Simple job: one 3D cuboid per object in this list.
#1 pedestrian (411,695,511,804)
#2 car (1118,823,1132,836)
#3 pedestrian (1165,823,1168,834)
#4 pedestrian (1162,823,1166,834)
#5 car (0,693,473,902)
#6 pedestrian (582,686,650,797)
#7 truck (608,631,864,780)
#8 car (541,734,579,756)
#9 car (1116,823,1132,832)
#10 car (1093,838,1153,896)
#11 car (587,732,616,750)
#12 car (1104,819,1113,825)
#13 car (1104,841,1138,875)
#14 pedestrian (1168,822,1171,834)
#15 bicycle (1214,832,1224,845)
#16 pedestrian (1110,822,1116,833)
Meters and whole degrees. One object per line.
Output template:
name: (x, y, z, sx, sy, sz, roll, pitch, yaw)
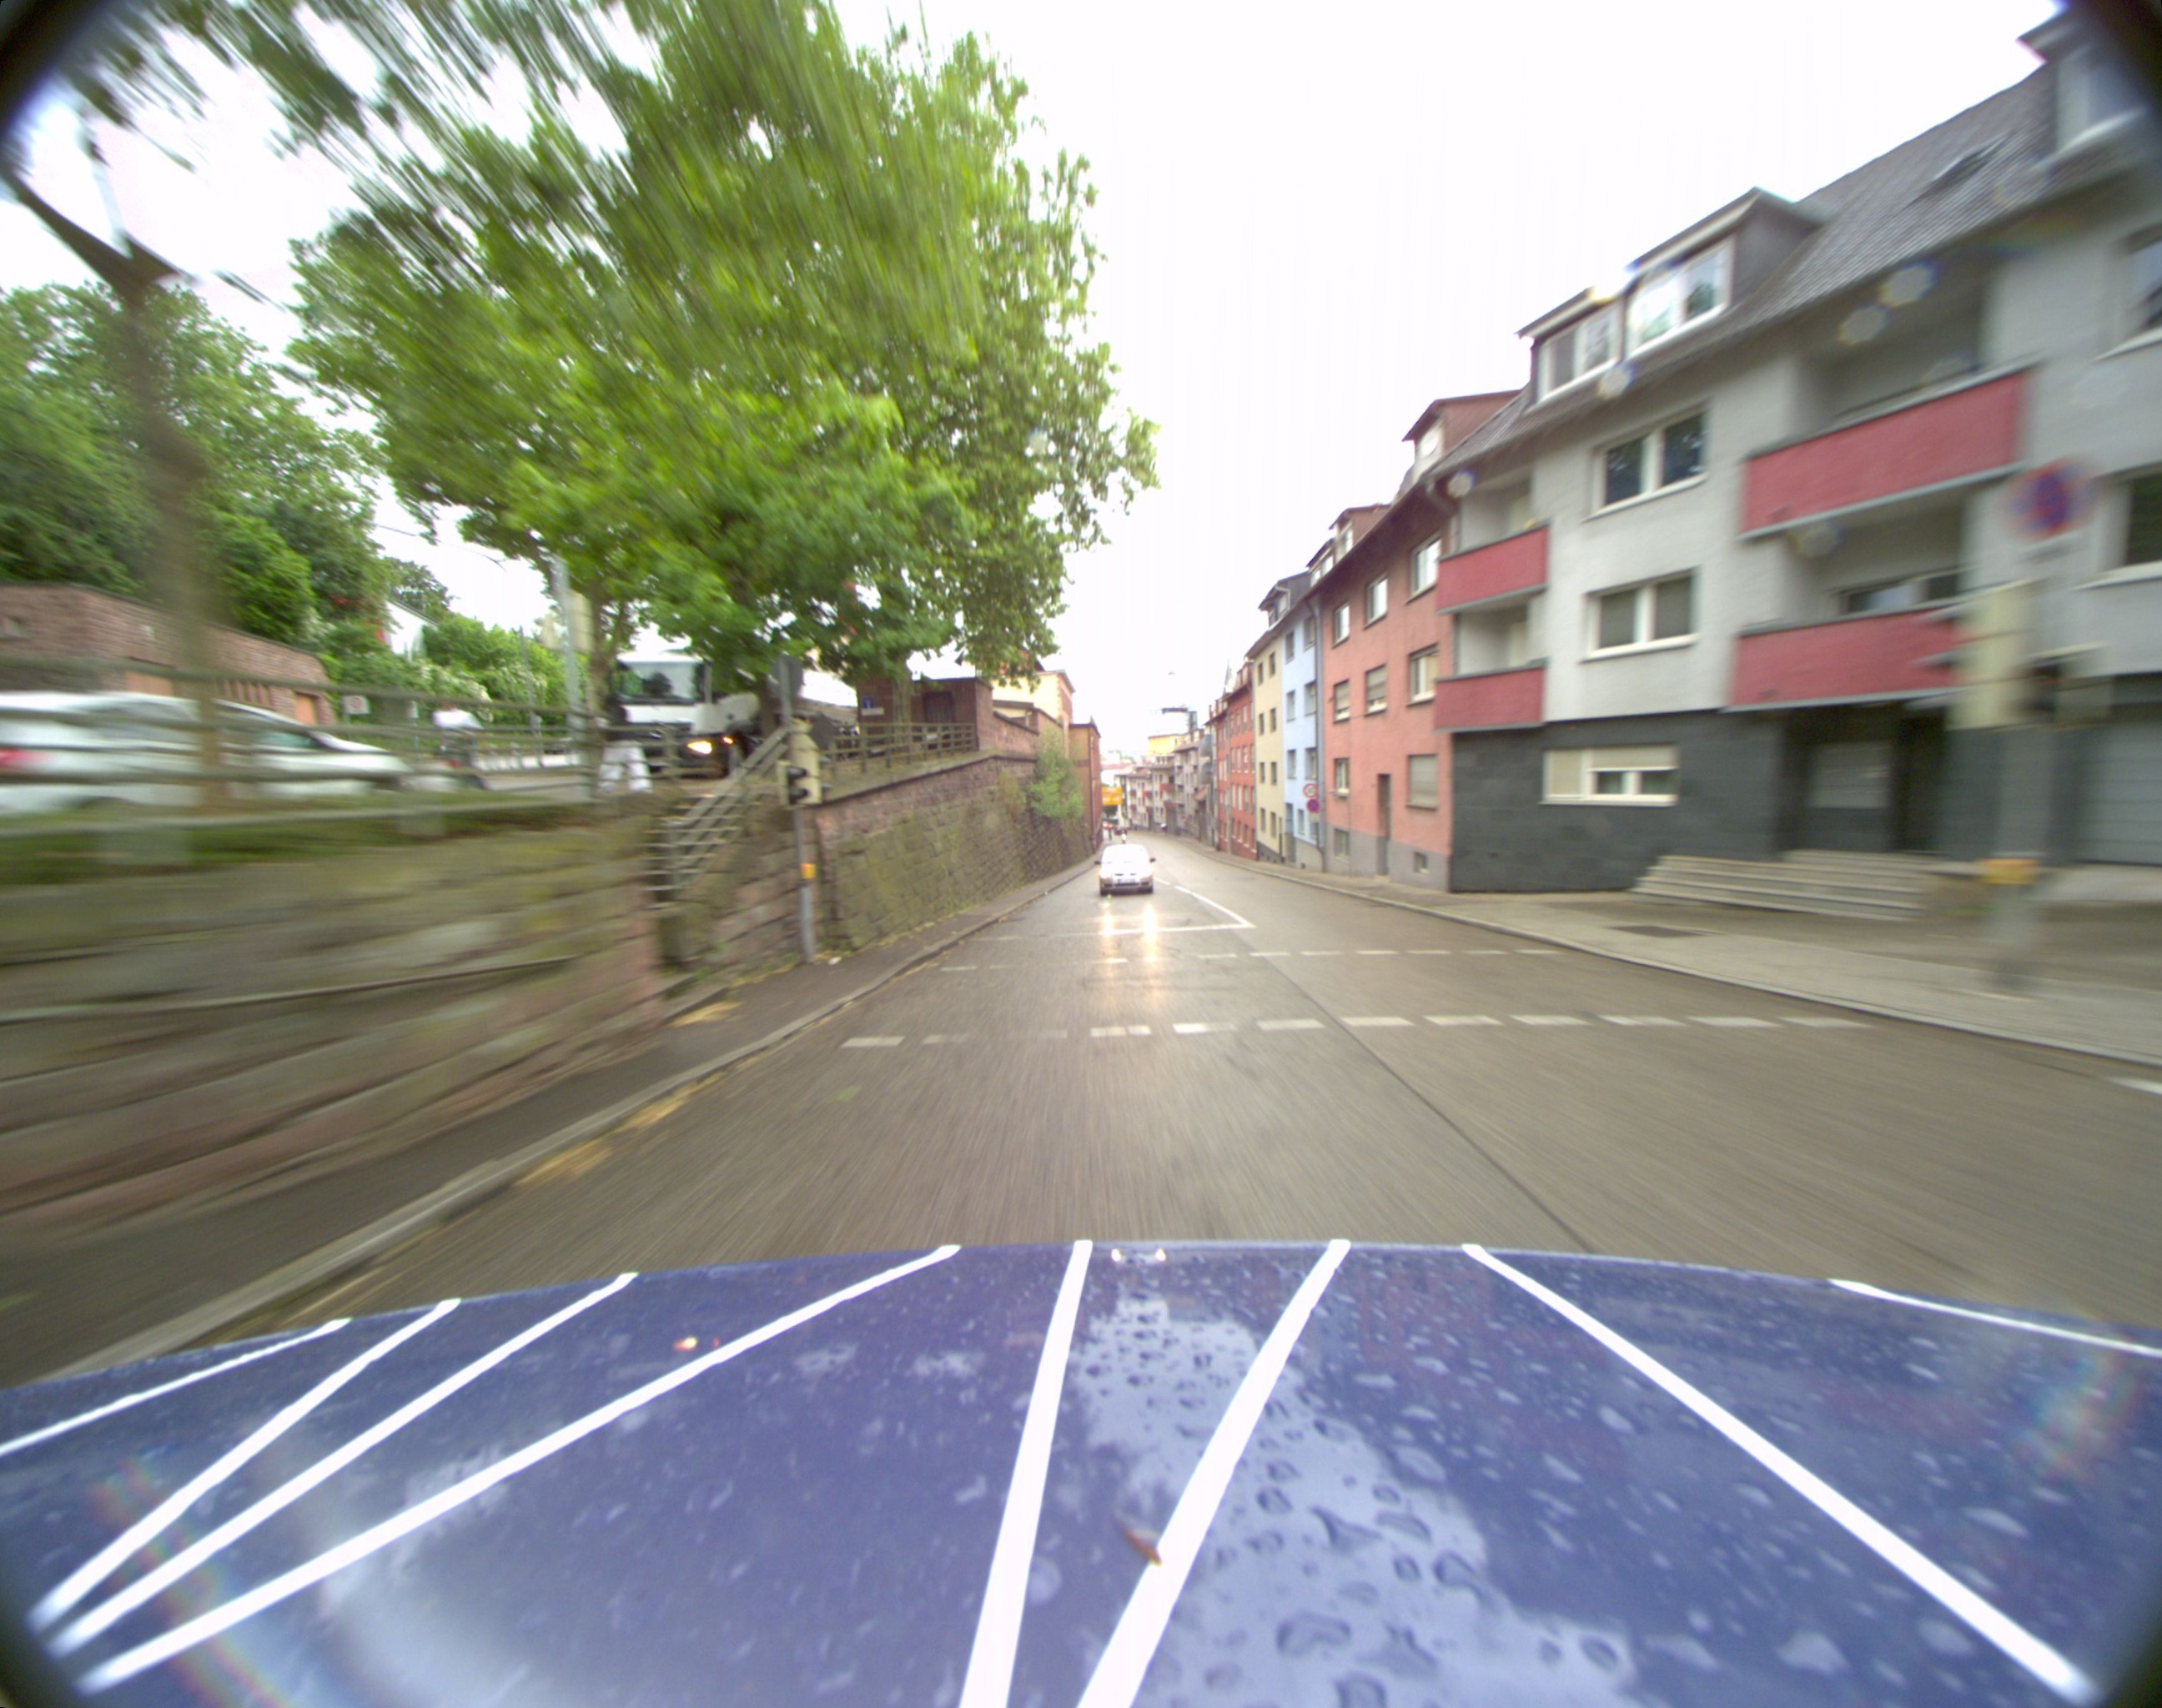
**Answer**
pedestrian: (-10.000, -1.651, 12.286, 0.873, 1.668, 0.779, 0, 4, 7)
car: (5.888, -3.324, 102.277, 1.637, 1.522, 3.998, -4, 3, 0)
pedestrian: (13.530, -4.049, 120.023, 0.381, 1.770, 0.499, -4, 4, -5)
pedestrian: (13.153, -4.046, 120.126, 0.386, 1.770, 0.499, -4, 4, -5)
car: (-8.599, -0.684, 7.373, 1.634, 1.487, 4.340, -4, 10, 1)
pedestrian: (-7.471, -1.753, 12.198, 0.780, 1.668, 0.871, -4, 5, -36)
truck: (-9.300, -4.402, 22.675, 2.755, 3.296, 11.204, -1, 11, -2)
car: (-44.498, -9.358, 65.011, 1.735, 1.633, 3.986, -6, 12, -22)
car: (7.414, -4.677, 131.523, 2.000, 1.471, 3.995, 0, 3, -6)
car: (1.397, 0.350, 25.016, 1.719, 1.528, 3.999, -4, 3, 4)
car: (-50.400, -11.945, 79.980, 1.735, 1.633, 3.986, -6, 12, -22)
car: (6.325, -7.321, 173.524, 1.713, 1.317, 3.368, -4, 3, -2)
car: (2.267, 0.177, 42.169, 1.719, 1.528, 3.999, -4, 3, 4)
pedestrian: (13.982, -4.104, 120.174, 0.355, 1.770, 0.499, -4, 4, -5)
bicycle: (12.817, -1.472, 70.590, 0.572, 1.111, 2.039, -4, 3, 5)
pedestrian: (4.868, -4.062, 115.322, 0.871, 1.532, 1.087, -4, 1, 2)
